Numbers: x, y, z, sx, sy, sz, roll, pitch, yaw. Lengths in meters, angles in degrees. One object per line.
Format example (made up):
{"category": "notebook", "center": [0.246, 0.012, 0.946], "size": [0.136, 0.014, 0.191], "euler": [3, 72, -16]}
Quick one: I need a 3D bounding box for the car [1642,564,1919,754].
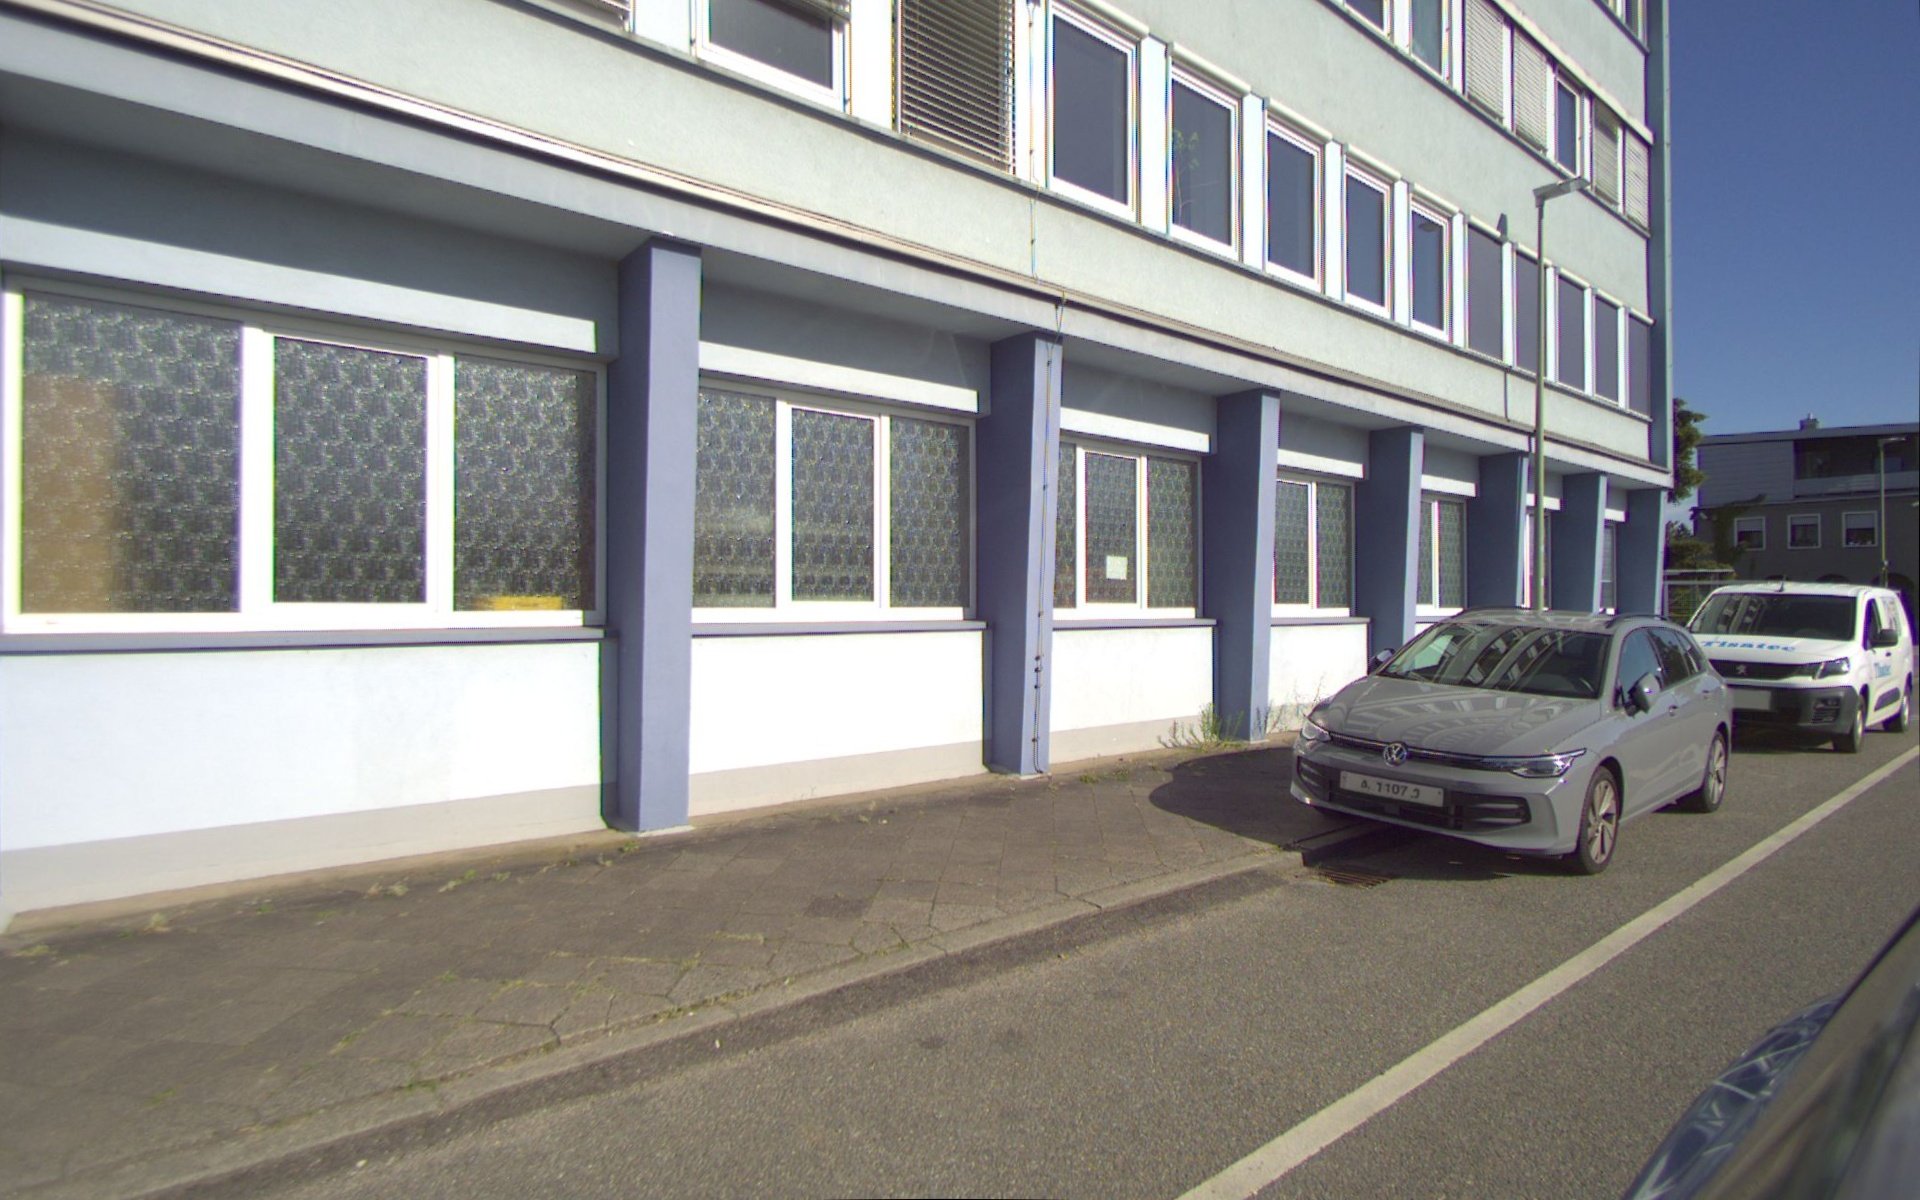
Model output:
{"category": "car", "center": [10.206, 0.580, 12.203], "size": [4.999, 1.855, 1.893], "euler": [0, -1, -39]}

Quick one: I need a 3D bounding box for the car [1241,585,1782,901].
{"category": "car", "center": [4.309, 0.716, 7.451], "size": [5.002, 1.580, 1.892], "euler": [0, -1, -41]}
